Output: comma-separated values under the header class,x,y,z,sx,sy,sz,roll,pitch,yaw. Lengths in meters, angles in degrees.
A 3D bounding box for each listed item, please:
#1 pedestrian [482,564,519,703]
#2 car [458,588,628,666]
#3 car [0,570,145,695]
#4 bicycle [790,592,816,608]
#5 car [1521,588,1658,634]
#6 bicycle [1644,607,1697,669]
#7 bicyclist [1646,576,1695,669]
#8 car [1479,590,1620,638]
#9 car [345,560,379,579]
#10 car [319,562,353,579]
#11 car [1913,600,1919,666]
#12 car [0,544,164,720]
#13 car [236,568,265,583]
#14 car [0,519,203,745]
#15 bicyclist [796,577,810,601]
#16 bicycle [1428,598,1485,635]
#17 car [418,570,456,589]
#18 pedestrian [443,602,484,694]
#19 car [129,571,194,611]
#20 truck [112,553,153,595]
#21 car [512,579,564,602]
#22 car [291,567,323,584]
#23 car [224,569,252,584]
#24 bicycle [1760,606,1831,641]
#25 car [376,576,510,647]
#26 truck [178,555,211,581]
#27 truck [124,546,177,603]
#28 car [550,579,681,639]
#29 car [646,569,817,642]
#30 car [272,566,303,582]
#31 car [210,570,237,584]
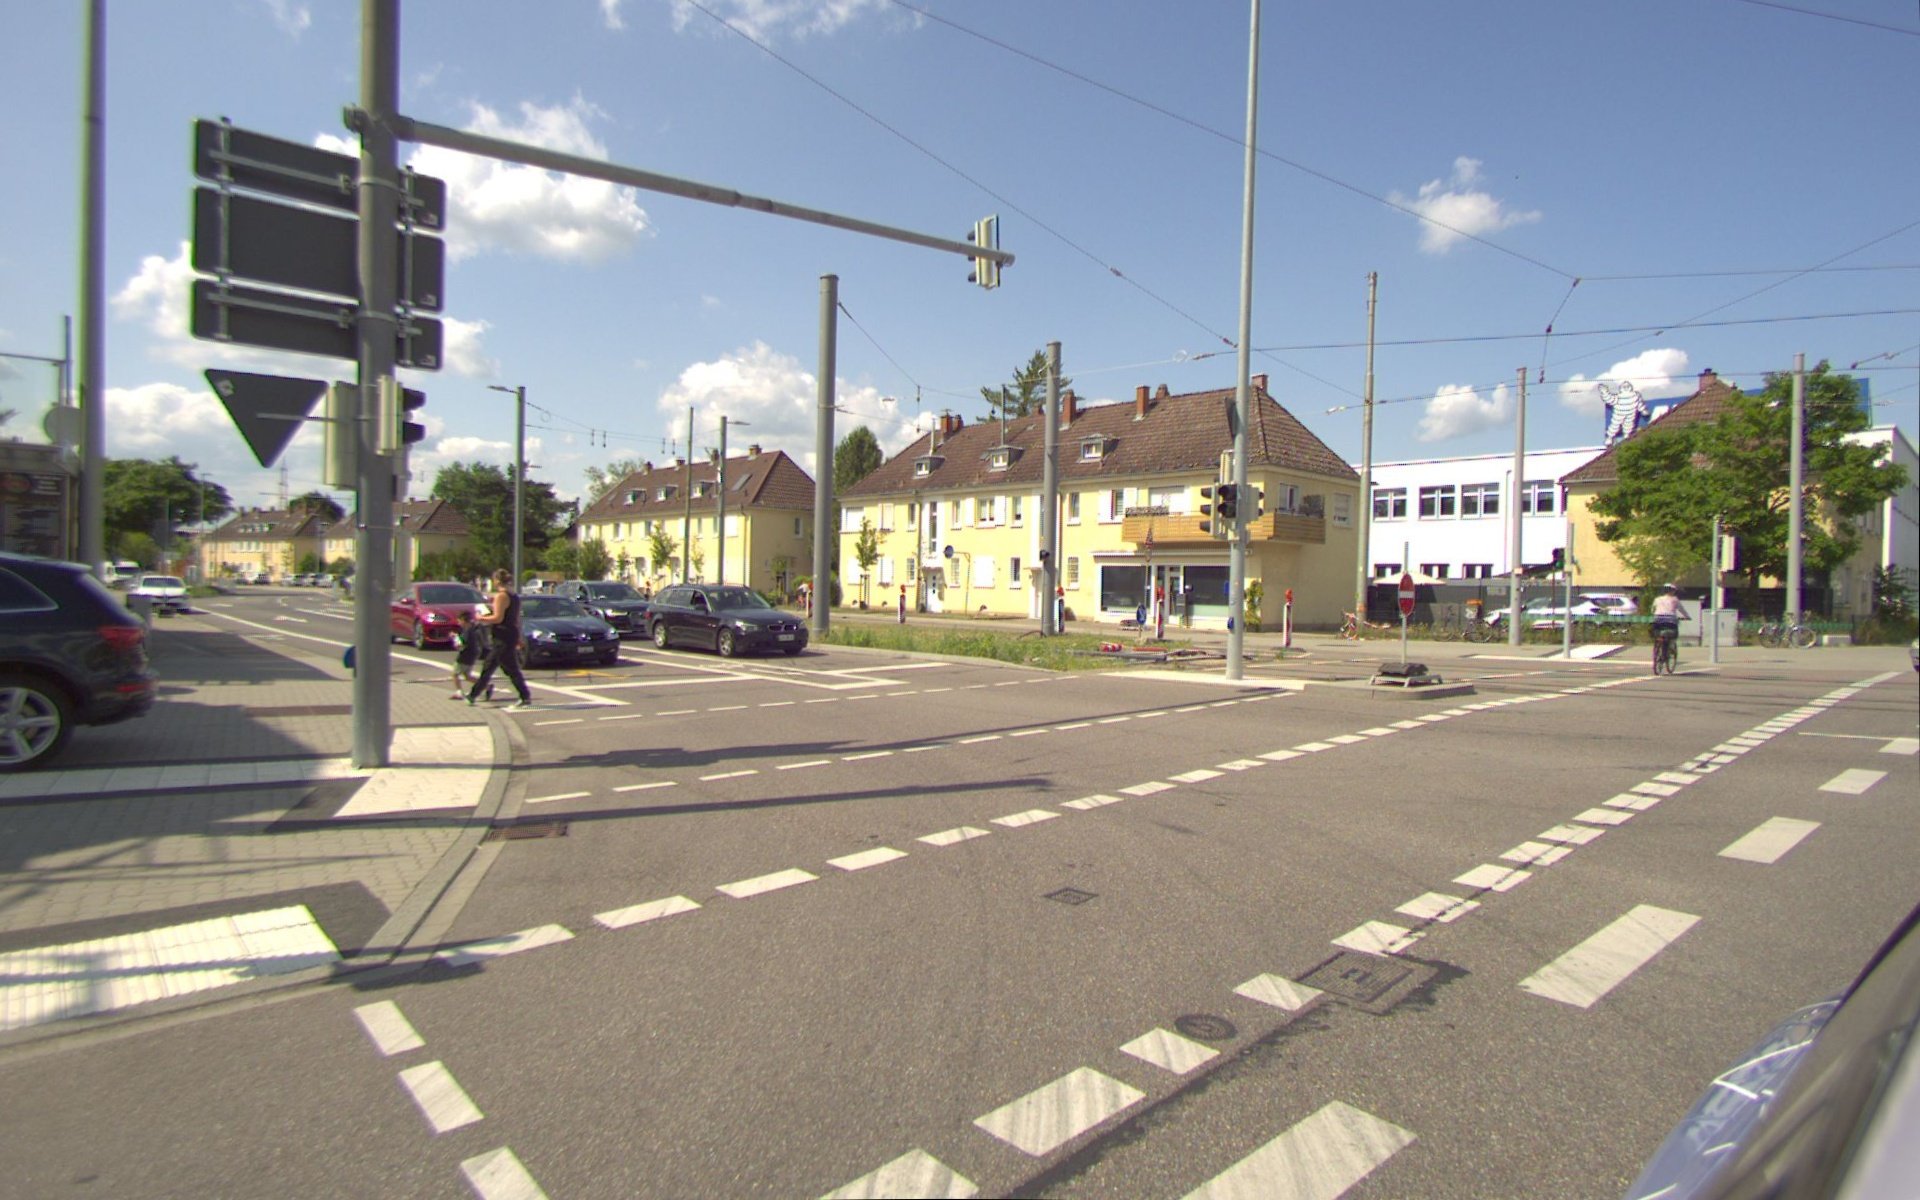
class,x,y,z,sx,sy,sz,roll,pitch,yaw
pedestrian,-5.613,0.394,12.377,0.393,1.664,0.549,0,0,-23
car,-8.092,0.461,19.442,1.710,1.325,4.321,-1,0,-41
car,-11.768,0.368,11.357,4.058,1.368,1.871,-1,0,-40
bicycle,-8.094,-0.022,52.181,0.497,0.791,1.580,0,2,-44
car,23.652,0.383,38.086,4.106,1.617,1.772,1,0,44
bicycle,13.889,0.725,19.771,0.650,1.131,1.563,-1,0,43
bicyclist,13.906,0.419,19.791,0.650,1.759,0.969,-1,0,43
car,21.286,0.471,36.632,4.106,1.617,1.772,1,0,44
car,-60.276,-3.041,101.940,3.986,1.746,1.969,0,0,44
car,-65.740,-3.087,106.672,3.982,1.746,1.971,0,0,41
car,22.942,0.747,21.901,4.369,1.415,1.730,1,-1,-23
car,-10.098,0.304,9.520,4.058,1.616,1.997,-1,0,-40
car,-85.886,-2.929,122.515,3.982,1.746,1.971,0,0,41
car,-8.165,0.240,7.449,4.058,1.616,1.997,-1,0,-40
bicyclist,-8.105,-0.560,52.197,0.501,1.249,0.577,0,1,-45
bicycle,15.647,0.517,31.921,1.556,1.152,0.378,0,0,23
car,-49.080,-1.927,94.972,3.986,1.746,1.969,0,0,44
pedestrian,-6.384,0.605,13.009,0.382,1.150,0.489,0,0,-38
car,-31.560,-0.336,39.962,1.710,1.492,4.320,-1,0,-43
truck,-74.912,-2.272,91.559,2.340,3.582,8.513,0,0,-43
car,-28.697,-0.663,68.792,4.004,1.421,1.708,2,-2,44
car,-72.117,-2.721,111.814,3.982,1.746,1.971,0,0,41
car,-89.924,-2.919,126.090,3.982,1.746,1.971,0,0,41
bicycle,25.113,0.695,30.427,1.722,1.031,0.463,-1,0,0
car,-12.150,0.236,23.649,1.710,1.492,4.320,-1,0,-43
truck,-101.656,-4.230,134.314,5.301,3.267,1.975,0,0,35
truck,-58.367,-1.748,72.875,2.469,3.874,7.626,0,0,-43
car,-9.251,0.181,26.954,1.710,1.345,4.321,-1,3,-43
car,-5.060,0.042,22.005,1.710,1.345,4.321,-1,3,-43
car,-76.387,-2.959,115.015,3.982,1.746,1.971,0,0,41
car,-93.629,-2.911,128.618,3.984,1.746,1.970,0,0,42
